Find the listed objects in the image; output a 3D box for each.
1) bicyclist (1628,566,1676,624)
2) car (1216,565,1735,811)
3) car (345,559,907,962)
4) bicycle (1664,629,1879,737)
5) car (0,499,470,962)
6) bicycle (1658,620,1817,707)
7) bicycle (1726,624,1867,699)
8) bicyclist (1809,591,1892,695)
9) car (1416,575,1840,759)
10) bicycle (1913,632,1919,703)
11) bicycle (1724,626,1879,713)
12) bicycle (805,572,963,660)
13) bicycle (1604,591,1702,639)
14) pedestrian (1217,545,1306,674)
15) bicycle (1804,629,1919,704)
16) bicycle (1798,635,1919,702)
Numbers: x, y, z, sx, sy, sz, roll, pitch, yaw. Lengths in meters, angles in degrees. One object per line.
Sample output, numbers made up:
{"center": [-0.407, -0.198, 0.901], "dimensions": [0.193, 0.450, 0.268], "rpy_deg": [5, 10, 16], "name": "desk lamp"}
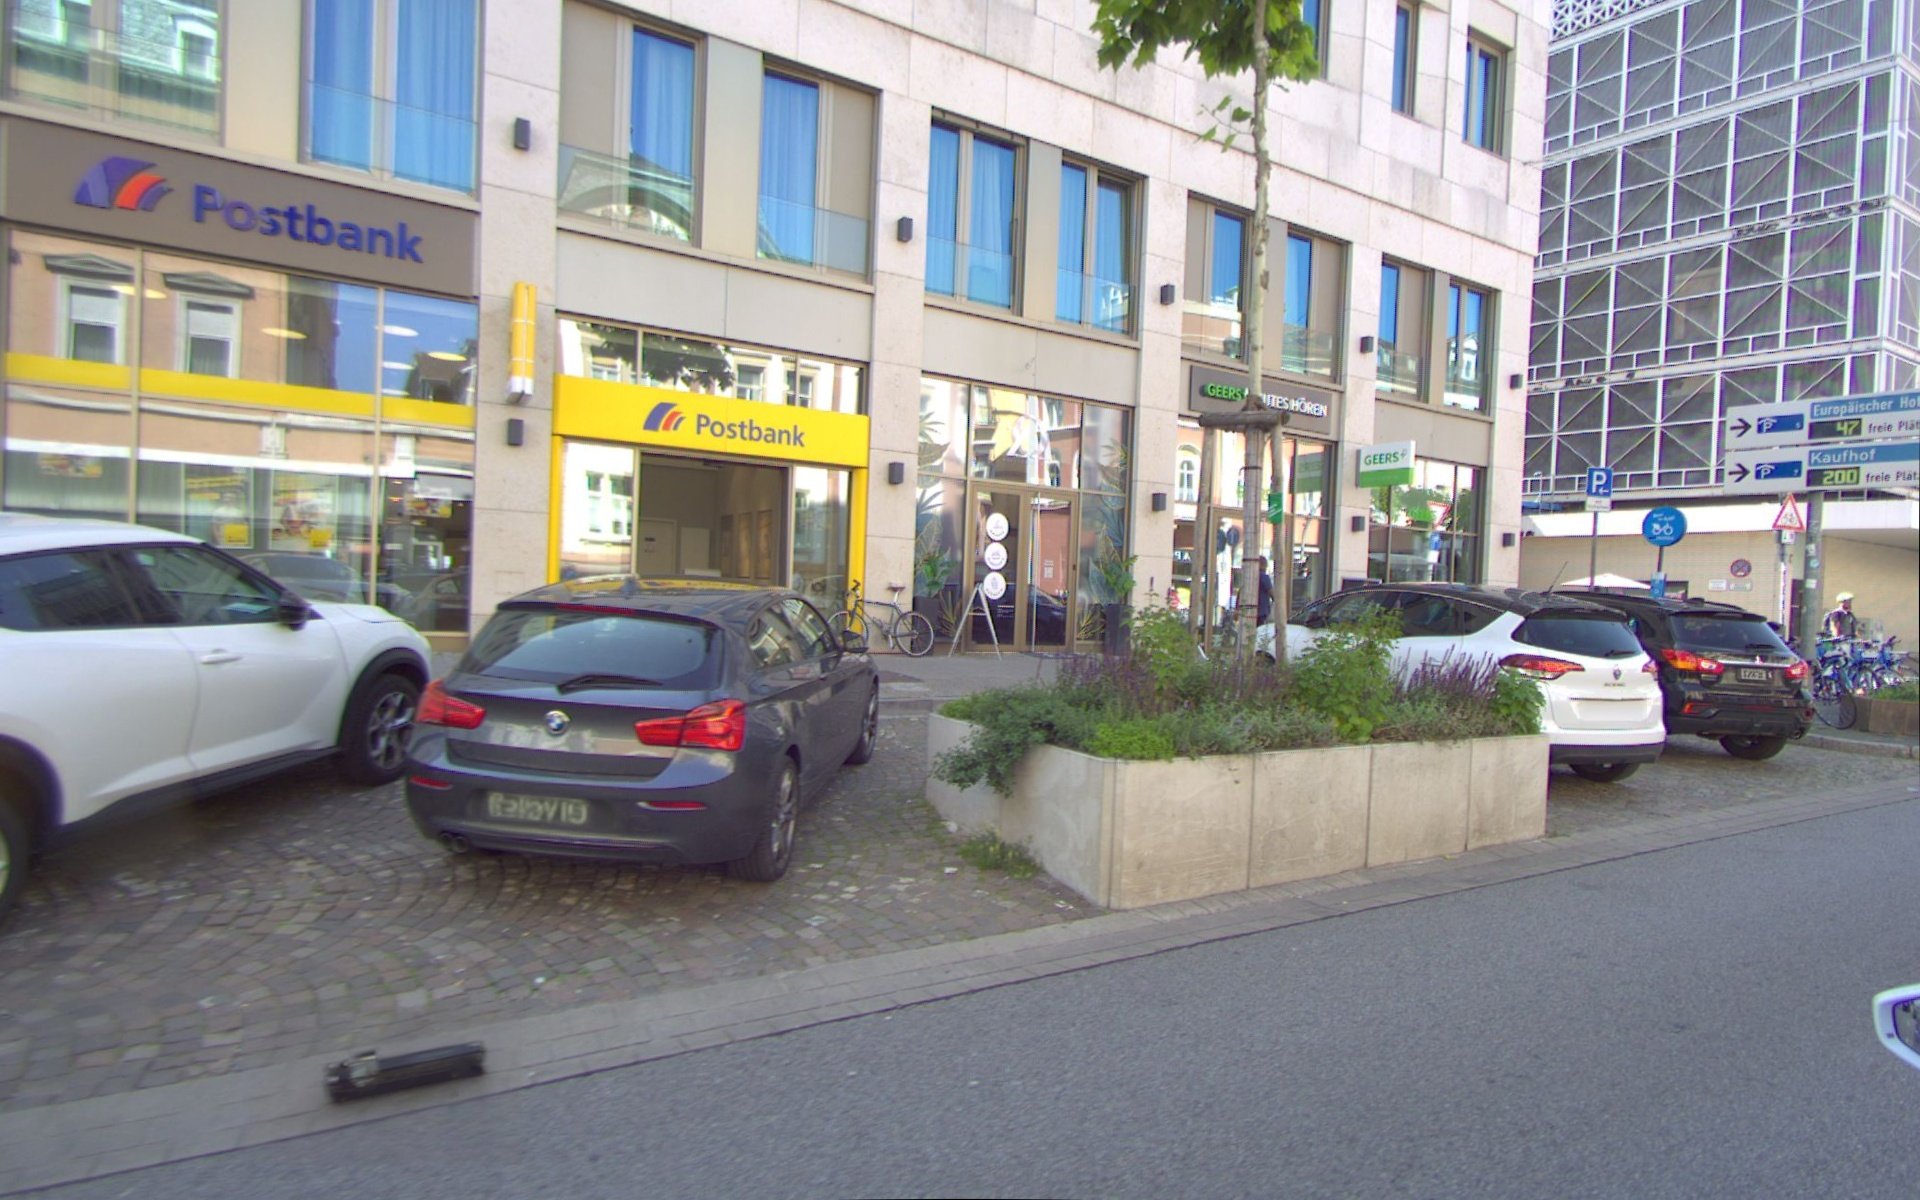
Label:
{"center": [19.078, -0.120, 27.717], "dimensions": [1.058, 1.559, 0.734], "rpy_deg": [0, 0, 32], "name": "bicyclist"}
{"center": [4.685, 0.647, 9.936], "dimensions": [2.071, 1.659, 4.149], "rpy_deg": [2, 4, -21], "name": "car"}
{"center": [-1.498, 0.563, 6.232], "dimensions": [1.751, 1.469, 4.319], "rpy_deg": [3, 3, 4], "name": "car"}
{"center": [10.553, 1.034, 13.170], "dimensions": [0.479, 1.142, 2.131], "rpy_deg": [0, 3, -28], "name": "bicycle"}
{"center": [-4.334, 0.378, 4.822], "dimensions": [1.783, 1.615, 4.038], "rpy_deg": [4, 5, 3], "name": "car"}
{"center": [12.556, 0.989, 16.336], "dimensions": [0.551, 1.142, 2.327], "rpy_deg": [3, 3, -5], "name": "bicycle"}
{"center": [14.646, 1.044, 17.669], "dimensions": [0.634, 1.142, 2.063], "rpy_deg": [2, 1, -3], "name": "bicycle"}
{"center": [17.603, 0.837, 19.869], "dimensions": [1.003, 1.986, 0.839], "rpy_deg": [2, 1, -24], "name": "bicyclist"}
{"center": [7.476, 0.621, 11.850], "dimensions": [1.922, 1.624, 4.029], "rpy_deg": [4, 2, -7], "name": "car"}
{"center": [16.301, 1.167, 16.049], "dimensions": [0.593, 1.189, 2.065], "rpy_deg": [3, 1, 15], "name": "bicycle"}
{"center": [13.342, 1.064, 16.025], "dimensions": [0.551, 1.142, 2.062], "rpy_deg": [2, 3, -5], "name": "bicycle"}
{"center": [-1.021, 0.229, 13.795], "dimensions": [2.136, 1.122, 0.493], "rpy_deg": [1, 3, -31], "name": "bicycle"}
{"center": [19.077, 0.404, 27.715], "dimensions": [2.173, 1.284, 0.734], "rpy_deg": [0, 0, 32], "name": "bicycle"}
{"center": [4.674, 0.133, 15.594], "dimensions": [0.834, 1.904, 0.834], "rpy_deg": [2, 5, -29], "name": "pedestrian"}
{"center": [15.930, 1.135, 17.676], "dimensions": [0.593, 1.184, 2.066], "rpy_deg": [2, 0, 7], "name": "bicycle"}
{"center": [17.679, 1.298, 19.510], "dimensions": [0.787, 1.142, 1.982], "rpy_deg": [1, 1, -22], "name": "bicycle"}
